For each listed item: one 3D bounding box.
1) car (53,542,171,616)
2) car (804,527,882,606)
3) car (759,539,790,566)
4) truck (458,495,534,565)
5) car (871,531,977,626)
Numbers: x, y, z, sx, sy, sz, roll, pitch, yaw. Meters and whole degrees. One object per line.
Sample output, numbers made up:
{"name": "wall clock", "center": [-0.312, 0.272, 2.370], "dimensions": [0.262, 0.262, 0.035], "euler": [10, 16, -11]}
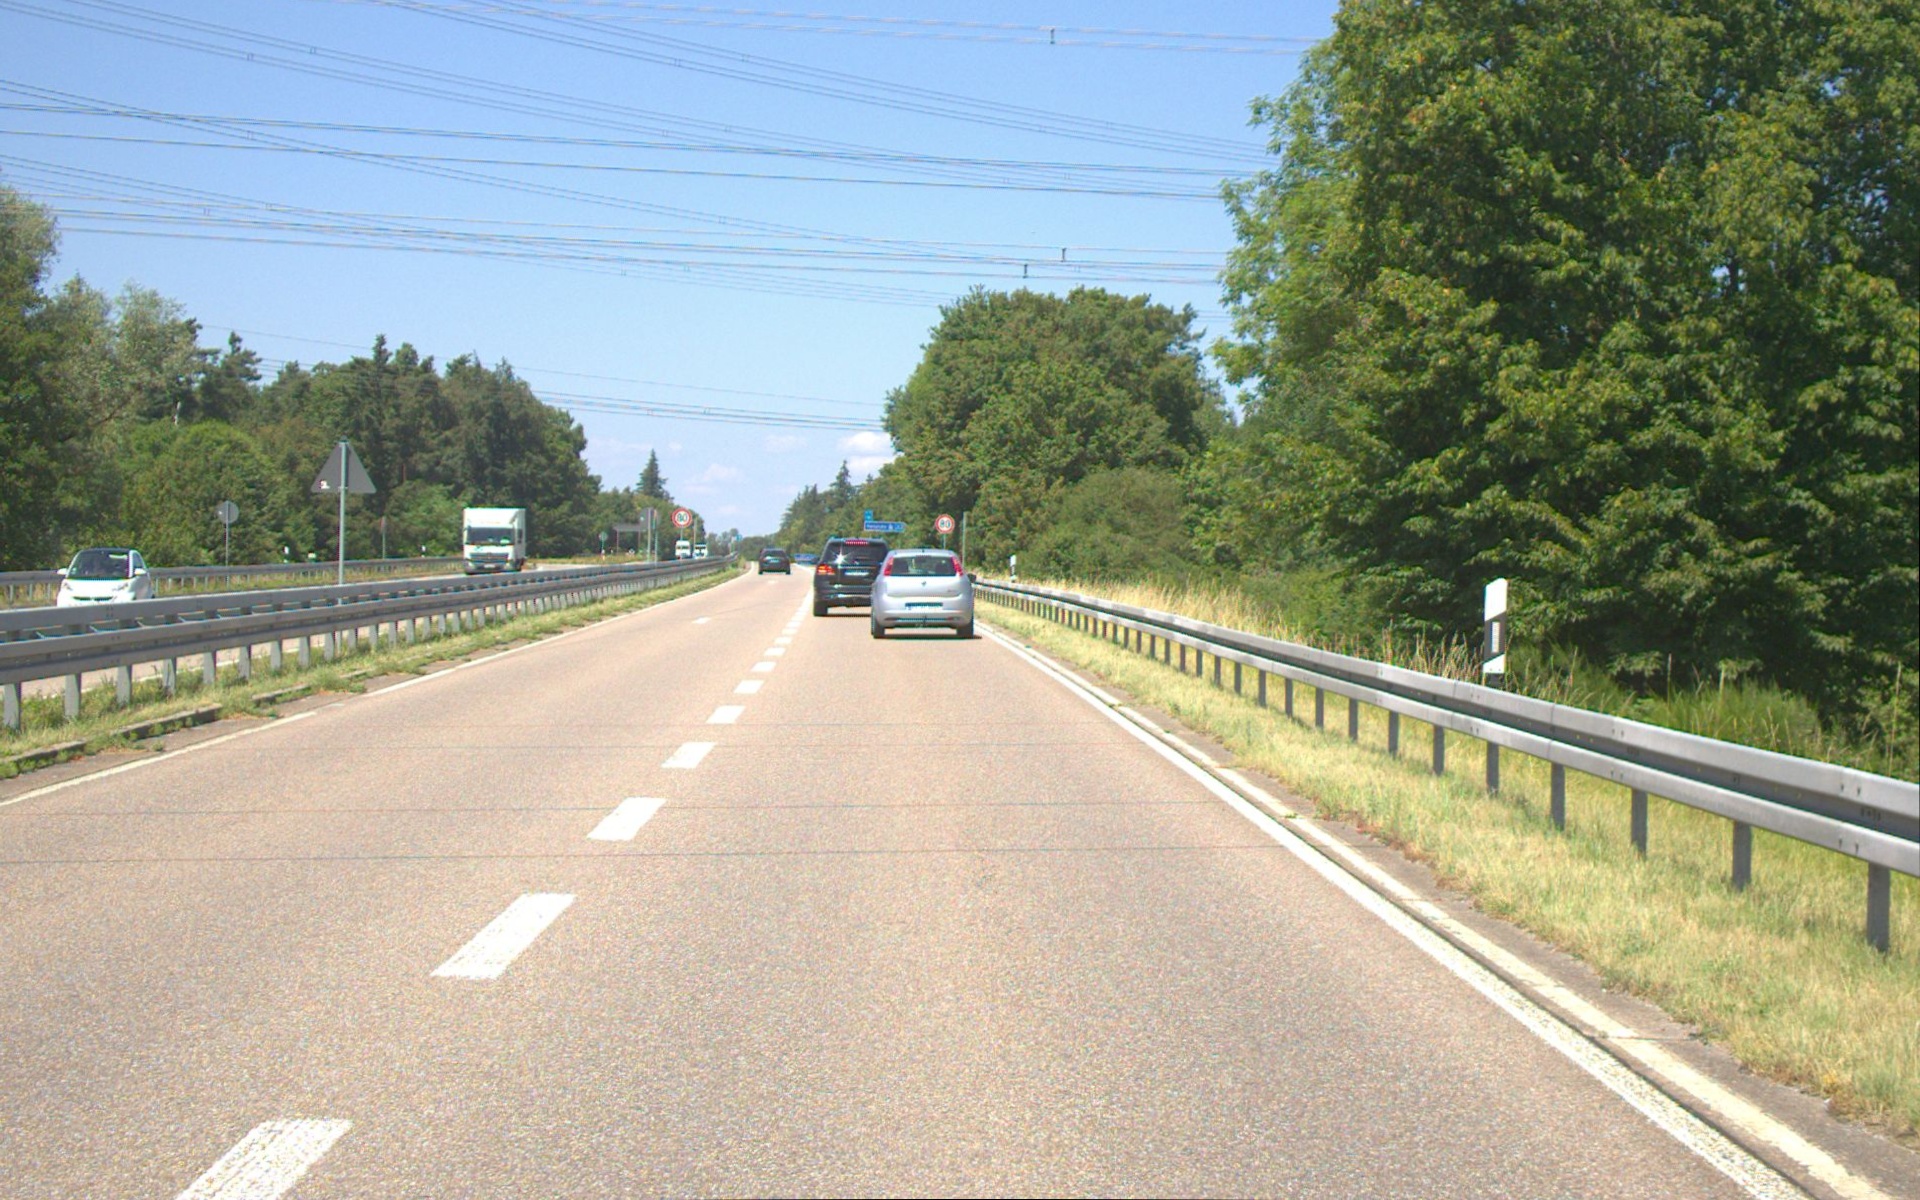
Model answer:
{"name": "car", "center": [-17.108, -0.445, 69.484], "dimensions": [1.533, 1.444, 3.702], "euler": [0, 1, -1]}
{"name": "car", "center": [-2.631, -0.761, 76.987], "dimensions": [1.640, 1.648, 3.574], "euler": [3, 1, -2]}
{"name": "car", "center": [-10.546, -2.693, 195.659], "dimensions": [1.712, 1.466, 3.574], "euler": [3, 1, -3]}
{"name": "truck", "center": [-21.714, -3.246, 161.130], "dimensions": [2.718, 3.182, 8.406], "euler": [0, 1, -2]}
{"name": "car", "center": [-0.625, -0.368, 57.551], "dimensions": [1.640, 1.463, 3.419], "euler": [3, 1, -2]}
